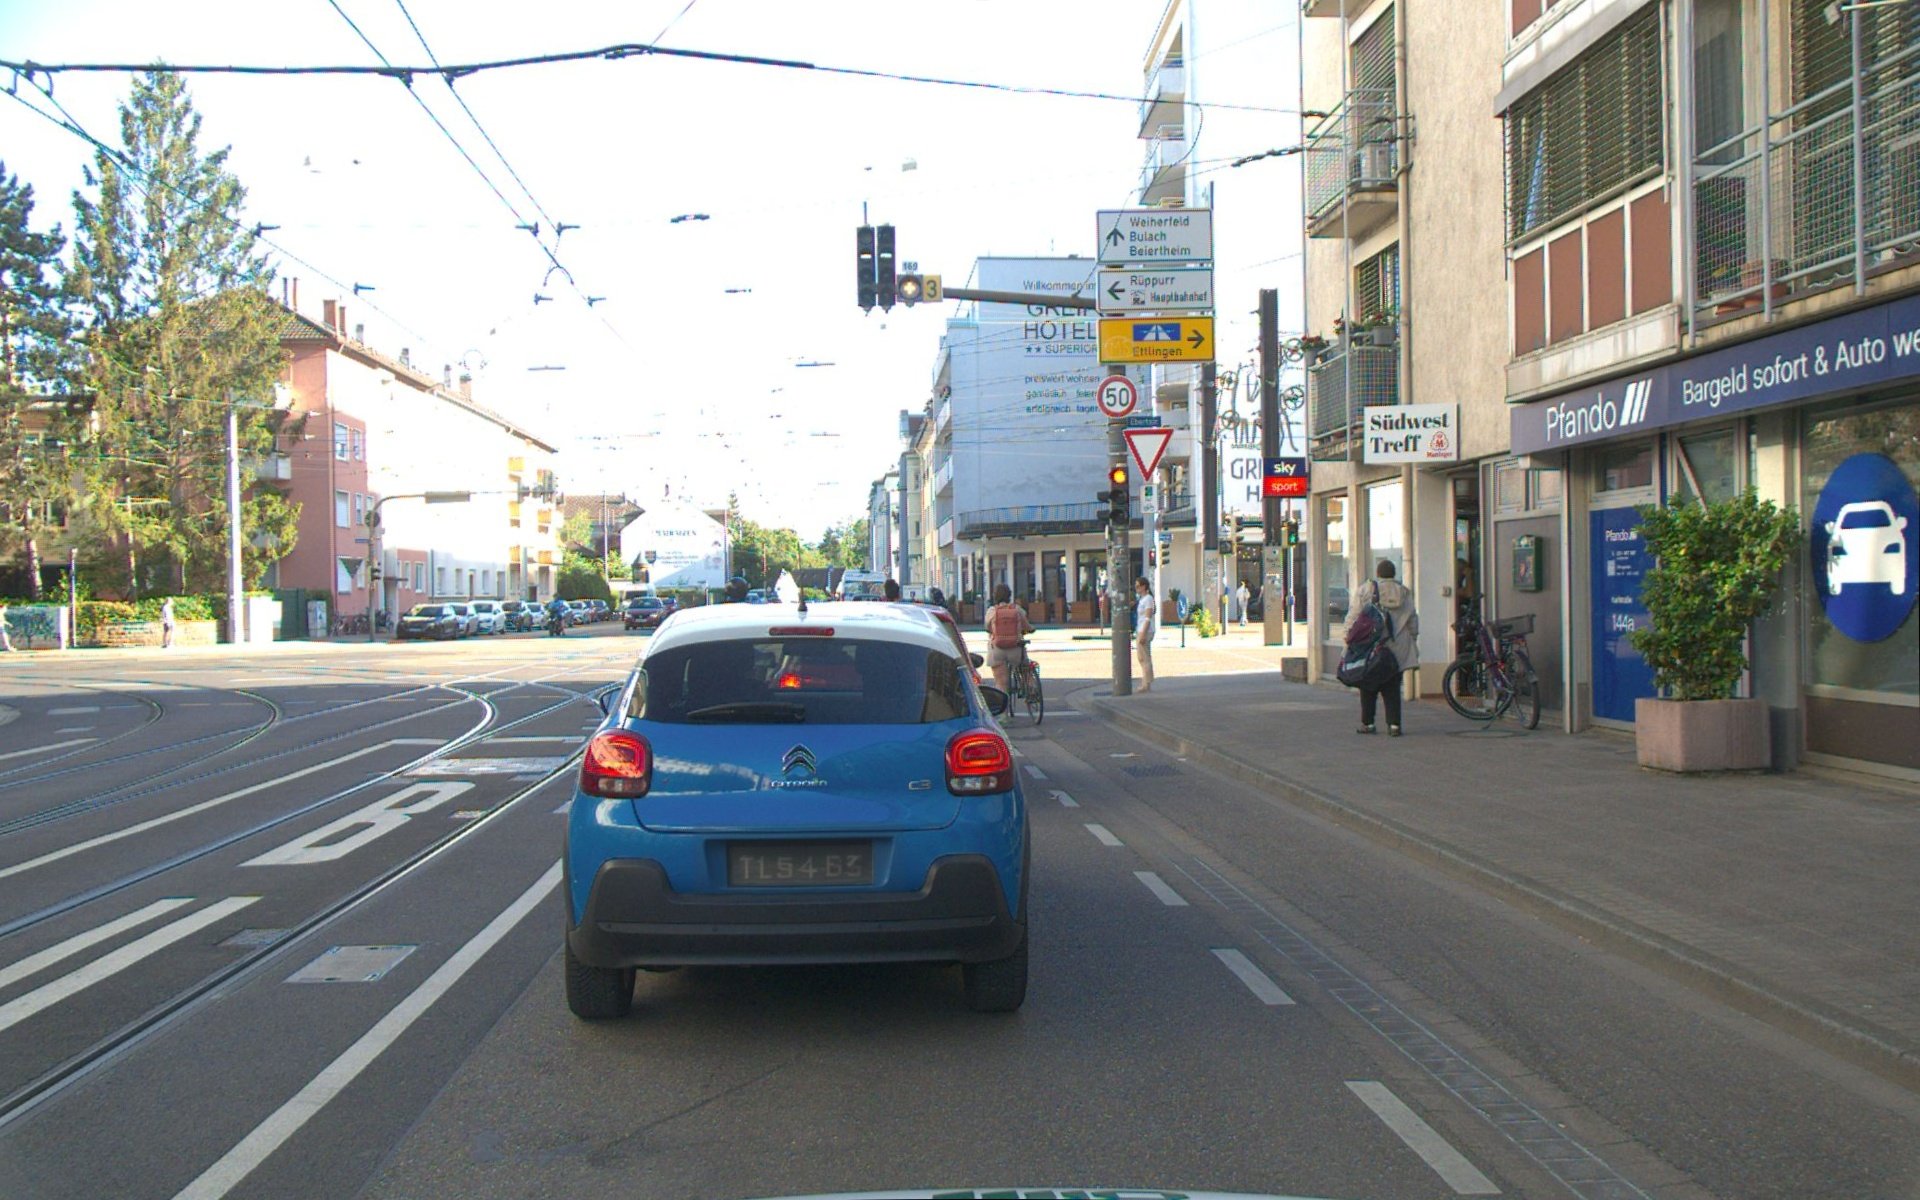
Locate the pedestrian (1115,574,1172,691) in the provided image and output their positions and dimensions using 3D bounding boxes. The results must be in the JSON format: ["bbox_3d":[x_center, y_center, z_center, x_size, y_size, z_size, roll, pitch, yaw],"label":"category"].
[{"bbox_3d":[2.683,0.469,24.191,0.528,1.652,0.733,-5,-2,21],"label":"pedestrian"}]

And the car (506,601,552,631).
[{"bbox_3d":[-23.854,0.887,91.700,1.833,1.604,3.995,1,0,-6],"label":"car"}]

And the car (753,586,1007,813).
[{"bbox_3d":[-0.730,0.686,13.432,1.750,1.548,3.758,1,1,-5],"label":"car"}]

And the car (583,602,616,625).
[{"bbox_3d":[-25.807,0.964,118.517,1.833,1.604,3.995,1,0,-6],"label":"car"}]

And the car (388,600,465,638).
[{"bbox_3d":[-22.103,0.814,68.712,2.112,1.457,4.435,1,-2,-5],"label":"car"}]

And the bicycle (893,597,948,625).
[{"bbox_3d":[-1.636,0.450,68.258,2.208,1.019,0.855,-2,0,-6],"label":"bicycle"}]

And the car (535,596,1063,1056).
[{"bbox_3d":[-0.513,0.730,7.165,1.701,1.478,3.662,0,0,0],"label":"car"}]

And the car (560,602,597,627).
[{"bbox_3d":[-24.724,0.936,107.218,1.833,1.604,3.995,1,0,-6],"label":"car"}]

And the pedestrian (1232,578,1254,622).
[{"bbox_3d":[10.558,-0.005,61.690,0.598,1.636,0.668,1,-1,27],"label":"pedestrian"}]

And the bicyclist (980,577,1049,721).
[{"bbox_3d":[0.675,0.590,20.310,0.794,1.721,0.935,1,0,4],"label":"bicyclist"}]

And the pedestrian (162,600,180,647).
[{"bbox_3d":[-26.819,0.789,56.229,0.510,1.596,0.568,1,-1,-28],"label":"pedestrian"}]

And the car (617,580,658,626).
[{"bbox_3d":[-23.120,0.236,118.676,2.370,3.197,3.486,1,0,-4],"label":"car"}]

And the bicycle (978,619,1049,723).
[{"bbox_3d":[0.685,0.844,20.506,0.794,1.202,2.065,1,0,4],"label":"bicycle"}]

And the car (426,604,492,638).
[{"bbox_3d":[-22.436,0.929,74.182,1.865,1.462,4.100,1,0,-3],"label":"car"}]

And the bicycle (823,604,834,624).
[{"bbox_3d":[-11.552,1.210,145.491,0.774,1.699,2.230,1,0,1],"label":"bicycle"}]

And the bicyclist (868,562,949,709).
[{"bbox_3d":[-0.621,0.416,19.925,0.921,1.702,1.079,1,0,-2],"label":"bicyclist"}]

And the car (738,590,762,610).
[{"bbox_3d":[-21.508,0.030,169.642,2.174,1.965,4.945,1,0,-4],"label":"car"}]

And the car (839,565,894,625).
[{"bbox_3d":[-4.150,-0.211,72.763,2.221,2.525,5.002,0,0,-5],"label":"car"}]

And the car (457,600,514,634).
[{"bbox_3d":[-22.620,0.790,78.970,1.707,1.553,4.226,1,0,-4],"label":"car"}]

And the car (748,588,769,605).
[{"bbox_3d":[-22.822,-0.366,187.495,2.033,1.793,5.032,1,0,-4],"label":"car"}]

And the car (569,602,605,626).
[{"bbox_3d":[-25.304,0.947,112.305,1.833,1.604,3.995,1,0,-6],"label":"car"}]

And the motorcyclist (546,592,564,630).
[{"bbox_3d":[-16.378,0.456,66.885,0.681,1.523,0.682,-1,-2,-14],"label":"motorcyclist"}]

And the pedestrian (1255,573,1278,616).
[{"bbox_3d":[11.847,-0.222,63.864,0.600,1.636,0.666,0,-1,39],"label":"pedestrian"}]

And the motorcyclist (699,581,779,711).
[{"bbox_3d":[-2.627,0.538,19.743,0.837,1.514,0.729,1,-1,-1],"label":"motorcyclist"}]

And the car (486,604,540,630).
[{"bbox_3d":[-23.152,0.867,85.804,1.909,1.261,4.278,1,0,-5],"label":"car"}]

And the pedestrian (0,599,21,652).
[{"bbox_3d":[-31.624,0.836,54.834,0.771,1.752,0.699,1,-1,-24],"label":"pedestrian"}]

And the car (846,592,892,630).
[{"bbox_3d":[-3.757,0.444,67.788,1.626,1.456,3.882,1,0,-7],"label":"car"}]

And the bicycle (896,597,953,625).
[{"bbox_3d":[-1.438,0.441,67.149,2.208,1.019,0.855,-2,0,-6],"label":"bicycle"}]

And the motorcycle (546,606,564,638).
[{"bbox_3d":[-16.336,0.886,66.720,0.700,1.241,1.958,-1,-2,-14],"label":"motorcycle"}]

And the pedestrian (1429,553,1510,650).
[{"bbox_3d":[5.963,0.012,19.357,0.618,1.106,0.670,-2,1,-38],"label":"pedestrian"}]

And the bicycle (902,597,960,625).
[{"bbox_3d":[-1.149,0.450,65.787,2.208,1.019,0.855,-2,0,-6],"label":"bicycle"}]

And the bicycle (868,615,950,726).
[{"bbox_3d":[-0.619,0.821,19.992,0.921,1.245,2.094,1,0,-2],"label":"bicycle"}]

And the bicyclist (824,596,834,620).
[{"bbox_3d":[-11.545,0.704,145.497,0.774,2.060,0.986,1,-1,0],"label":"bicyclist"}]

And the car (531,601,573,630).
[{"bbox_3d":[-24.082,0.908,97.757,1.833,1.604,3.995,1,0,-6],"label":"car"}]

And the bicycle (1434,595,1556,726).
[{"bbox_3d":[5.091,0.553,15.834,0.486,1.182,1.776,-1,0,-4],"label":"bicycle"}]

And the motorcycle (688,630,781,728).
[{"bbox_3d":[-2.625,0.901,19.464,0.837,1.065,1.942,1,0,-1],"label":"motorcycle"}]

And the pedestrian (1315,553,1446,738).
[{"bbox_3d":[3.887,0.402,15.338,0.868,1.619,0.809,-3,1,-9],"label":"pedestrian"}]

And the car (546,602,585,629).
[{"bbox_3d":[-24.360,0.922,102.246,1.833,1.604,3.995,1,0,-6],"label":"car"}]

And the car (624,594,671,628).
[{"bbox_3d":[-14.350,0.505,76.197,1.744,1.512,3.824,-1,0,-5],"label":"car"}]
